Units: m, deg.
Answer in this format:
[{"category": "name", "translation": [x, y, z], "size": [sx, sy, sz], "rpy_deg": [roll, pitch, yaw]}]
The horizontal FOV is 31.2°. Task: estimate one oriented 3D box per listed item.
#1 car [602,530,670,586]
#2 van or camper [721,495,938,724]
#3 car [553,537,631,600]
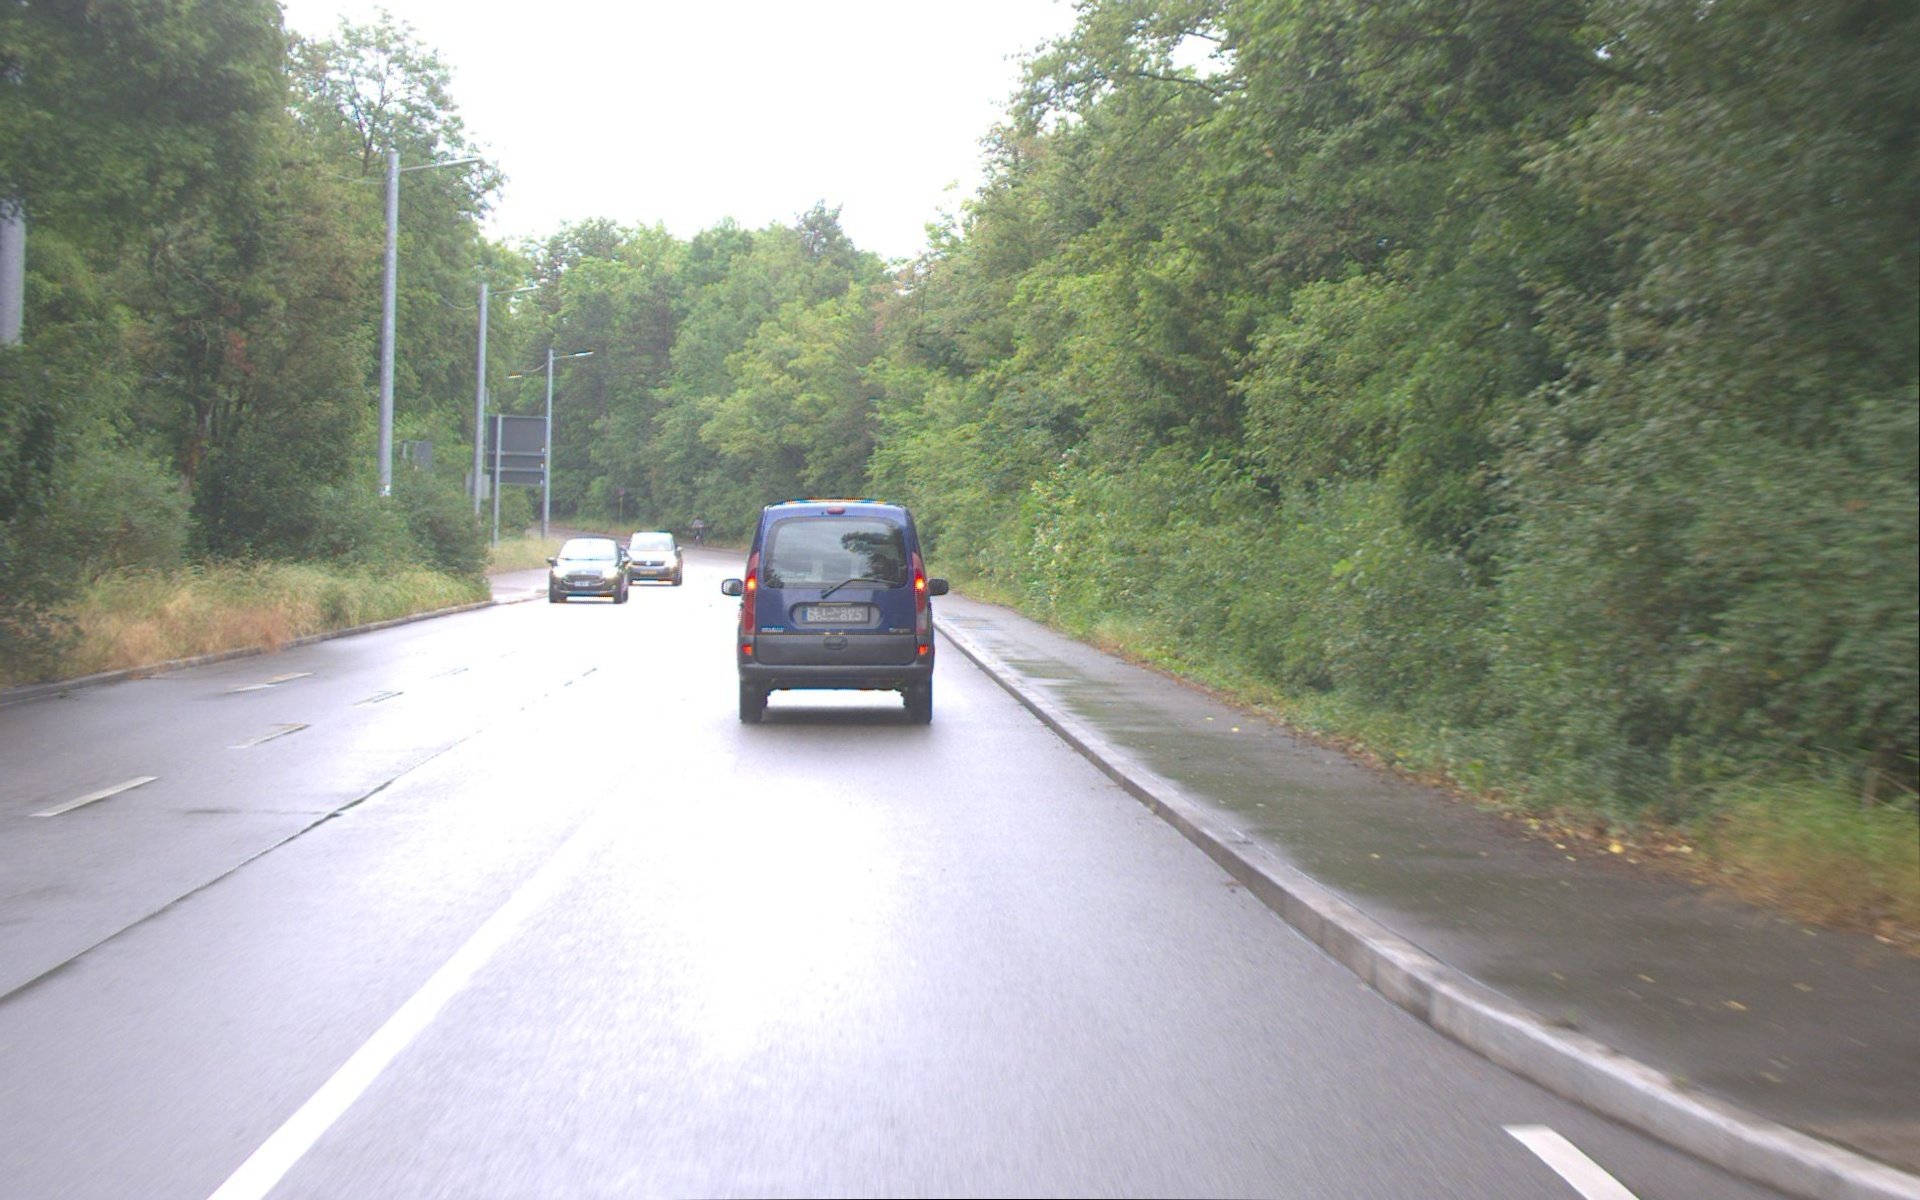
[{"category": "car", "translation": [-9.747, -1.271, 103.570], "size": [1.771, 1.605, 4.084], "rpy_deg": [2, 1, -2]}, {"category": "van or camper", "translation": [-1.151, 0.042, 29.776], "size": [1.712, 1.819, 4.001], "rpy_deg": [-1, 1, -3]}, {"category": "car", "translation": [-8.569, -0.751, 80.292], "size": [1.598, 1.436, 3.991], "rpy_deg": [0, 1, -3]}]
